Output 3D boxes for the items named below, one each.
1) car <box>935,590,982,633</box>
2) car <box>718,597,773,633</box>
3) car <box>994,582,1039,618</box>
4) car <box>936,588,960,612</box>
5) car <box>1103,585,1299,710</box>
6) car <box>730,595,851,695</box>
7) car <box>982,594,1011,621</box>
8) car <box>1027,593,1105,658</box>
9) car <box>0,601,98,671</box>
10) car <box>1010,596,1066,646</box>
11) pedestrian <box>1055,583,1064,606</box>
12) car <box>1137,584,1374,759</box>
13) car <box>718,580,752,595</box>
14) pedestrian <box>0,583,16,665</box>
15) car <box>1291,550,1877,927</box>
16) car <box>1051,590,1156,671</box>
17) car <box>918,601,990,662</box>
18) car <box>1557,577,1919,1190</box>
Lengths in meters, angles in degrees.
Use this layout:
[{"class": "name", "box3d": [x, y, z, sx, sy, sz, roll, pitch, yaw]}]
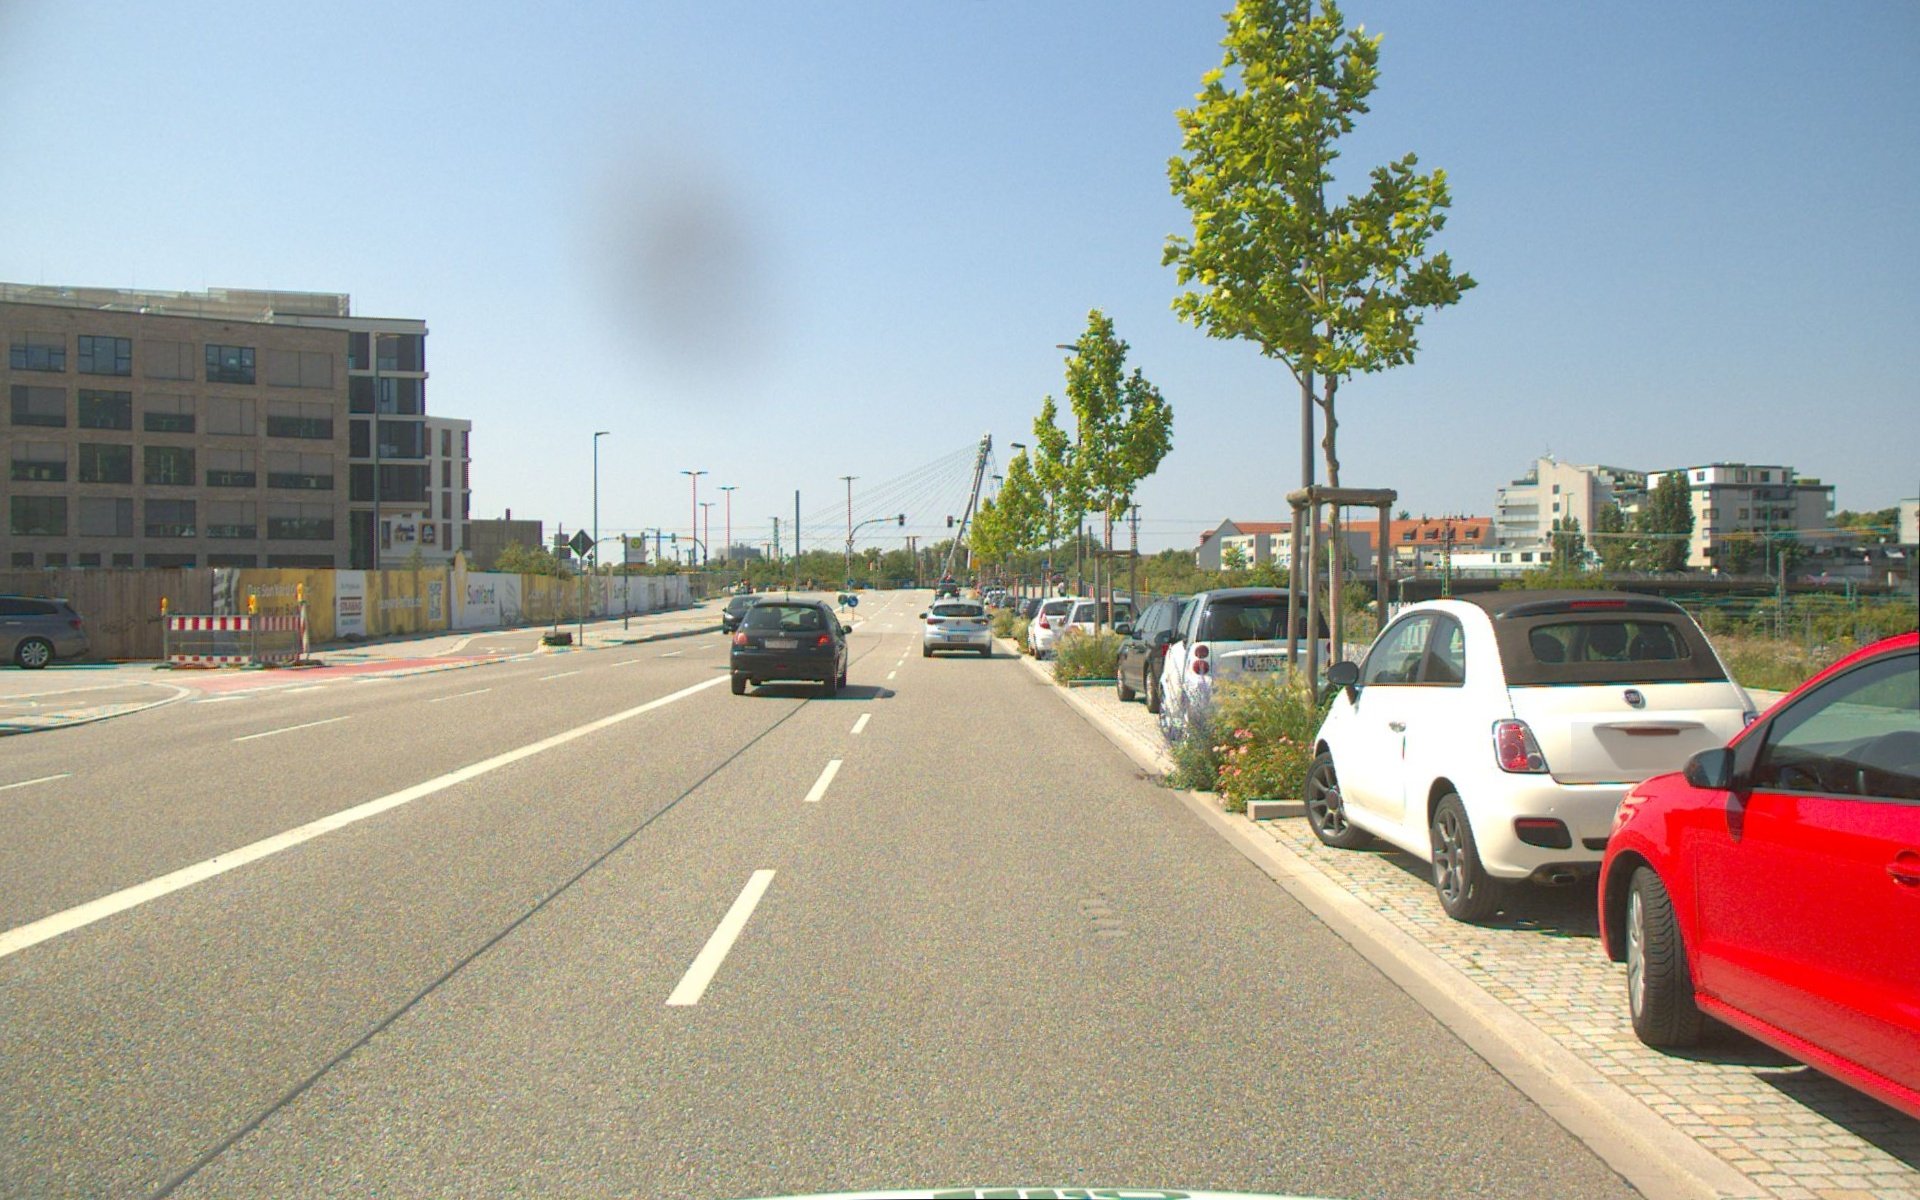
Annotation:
[{"class": "car", "box3d": [-0.069, 0.436, 64.857, 1.742, 1.596, 4.000, -1, 0, 0]}, {"class": "car", "box3d": [-8.465, 0.592, 65.532, 1.669, 1.376, 4.455, -1, 0, -1]}, {"class": "car", "box3d": [2.502, 0.023, 74.352, 1.670, 1.488, 3.952, -2, -1, -3]}, {"class": "car", "box3d": [-0.861, 0.000, 119.256, 1.742, 1.596, 4.000, 0, 1, 0]}, {"class": "car", "box3d": [3.200, 0.627, 22.827, 1.754, 1.503, 4.368, -2, -1, -4]}, {"class": "car", "box3d": [-2.599, 0.651, 26.016, 1.586, 1.441, 3.726, -1, 0, -1]}, {"class": "car", "box3d": [2.180, 0.425, 99.290, 1.662, 1.501, 4.205, -1, 1, 0]}, {"class": "car", "box3d": [2.618, 0.596, 41.551, 1.710, 1.535, 4.001, -1, 0, 0]}, {"class": "car", "box3d": [-19.575, 0.708, 32.769, 4.200, 1.341, 1.975, -1, 0, -36]}, {"class": "car", "box3d": [2.463, 0.632, 52.841, 1.669, 1.488, 4.085, -1, 0, 1]}, {"class": "pedestrian", "box3d": [6.938, -0.380, 115.426, 0.522, 1.603, 0.524, 1, -1, 0]}, {"class": "car", "box3d": [2.933, 0.653, 17.258, 1.869, 1.605, 4.159, 0, 0, 2]}, {"class": "car", "box3d": [-26.713, -1.443, 196.360, 3.925, 1.678, 1.851, 2, 0, 40]}, {"class": "pedestrian", "box3d": [-20.258, 0.495, 34.415, 0.671, 1.713, 0.756, 1, -1, 19]}, {"class": "car", "box3d": [3.036, 0.637, 8.904, 1.683, 1.551, 3.641, -2, -2, -1]}, {"class": "car", "box3d": [2.774, 0.568, 32.761, 1.869, 1.505, 4.159, 0, 0, 2]}, {"class": "car", "box3d": [-0.144, 0.788, 43.060, 1.741, 1.467, 4.000, 1, 0, 0]}, {"class": "car", "box3d": [3.186, 0.711, 4.376, 1.682, 1.476, 4.000, 1, 1, -1]}]
